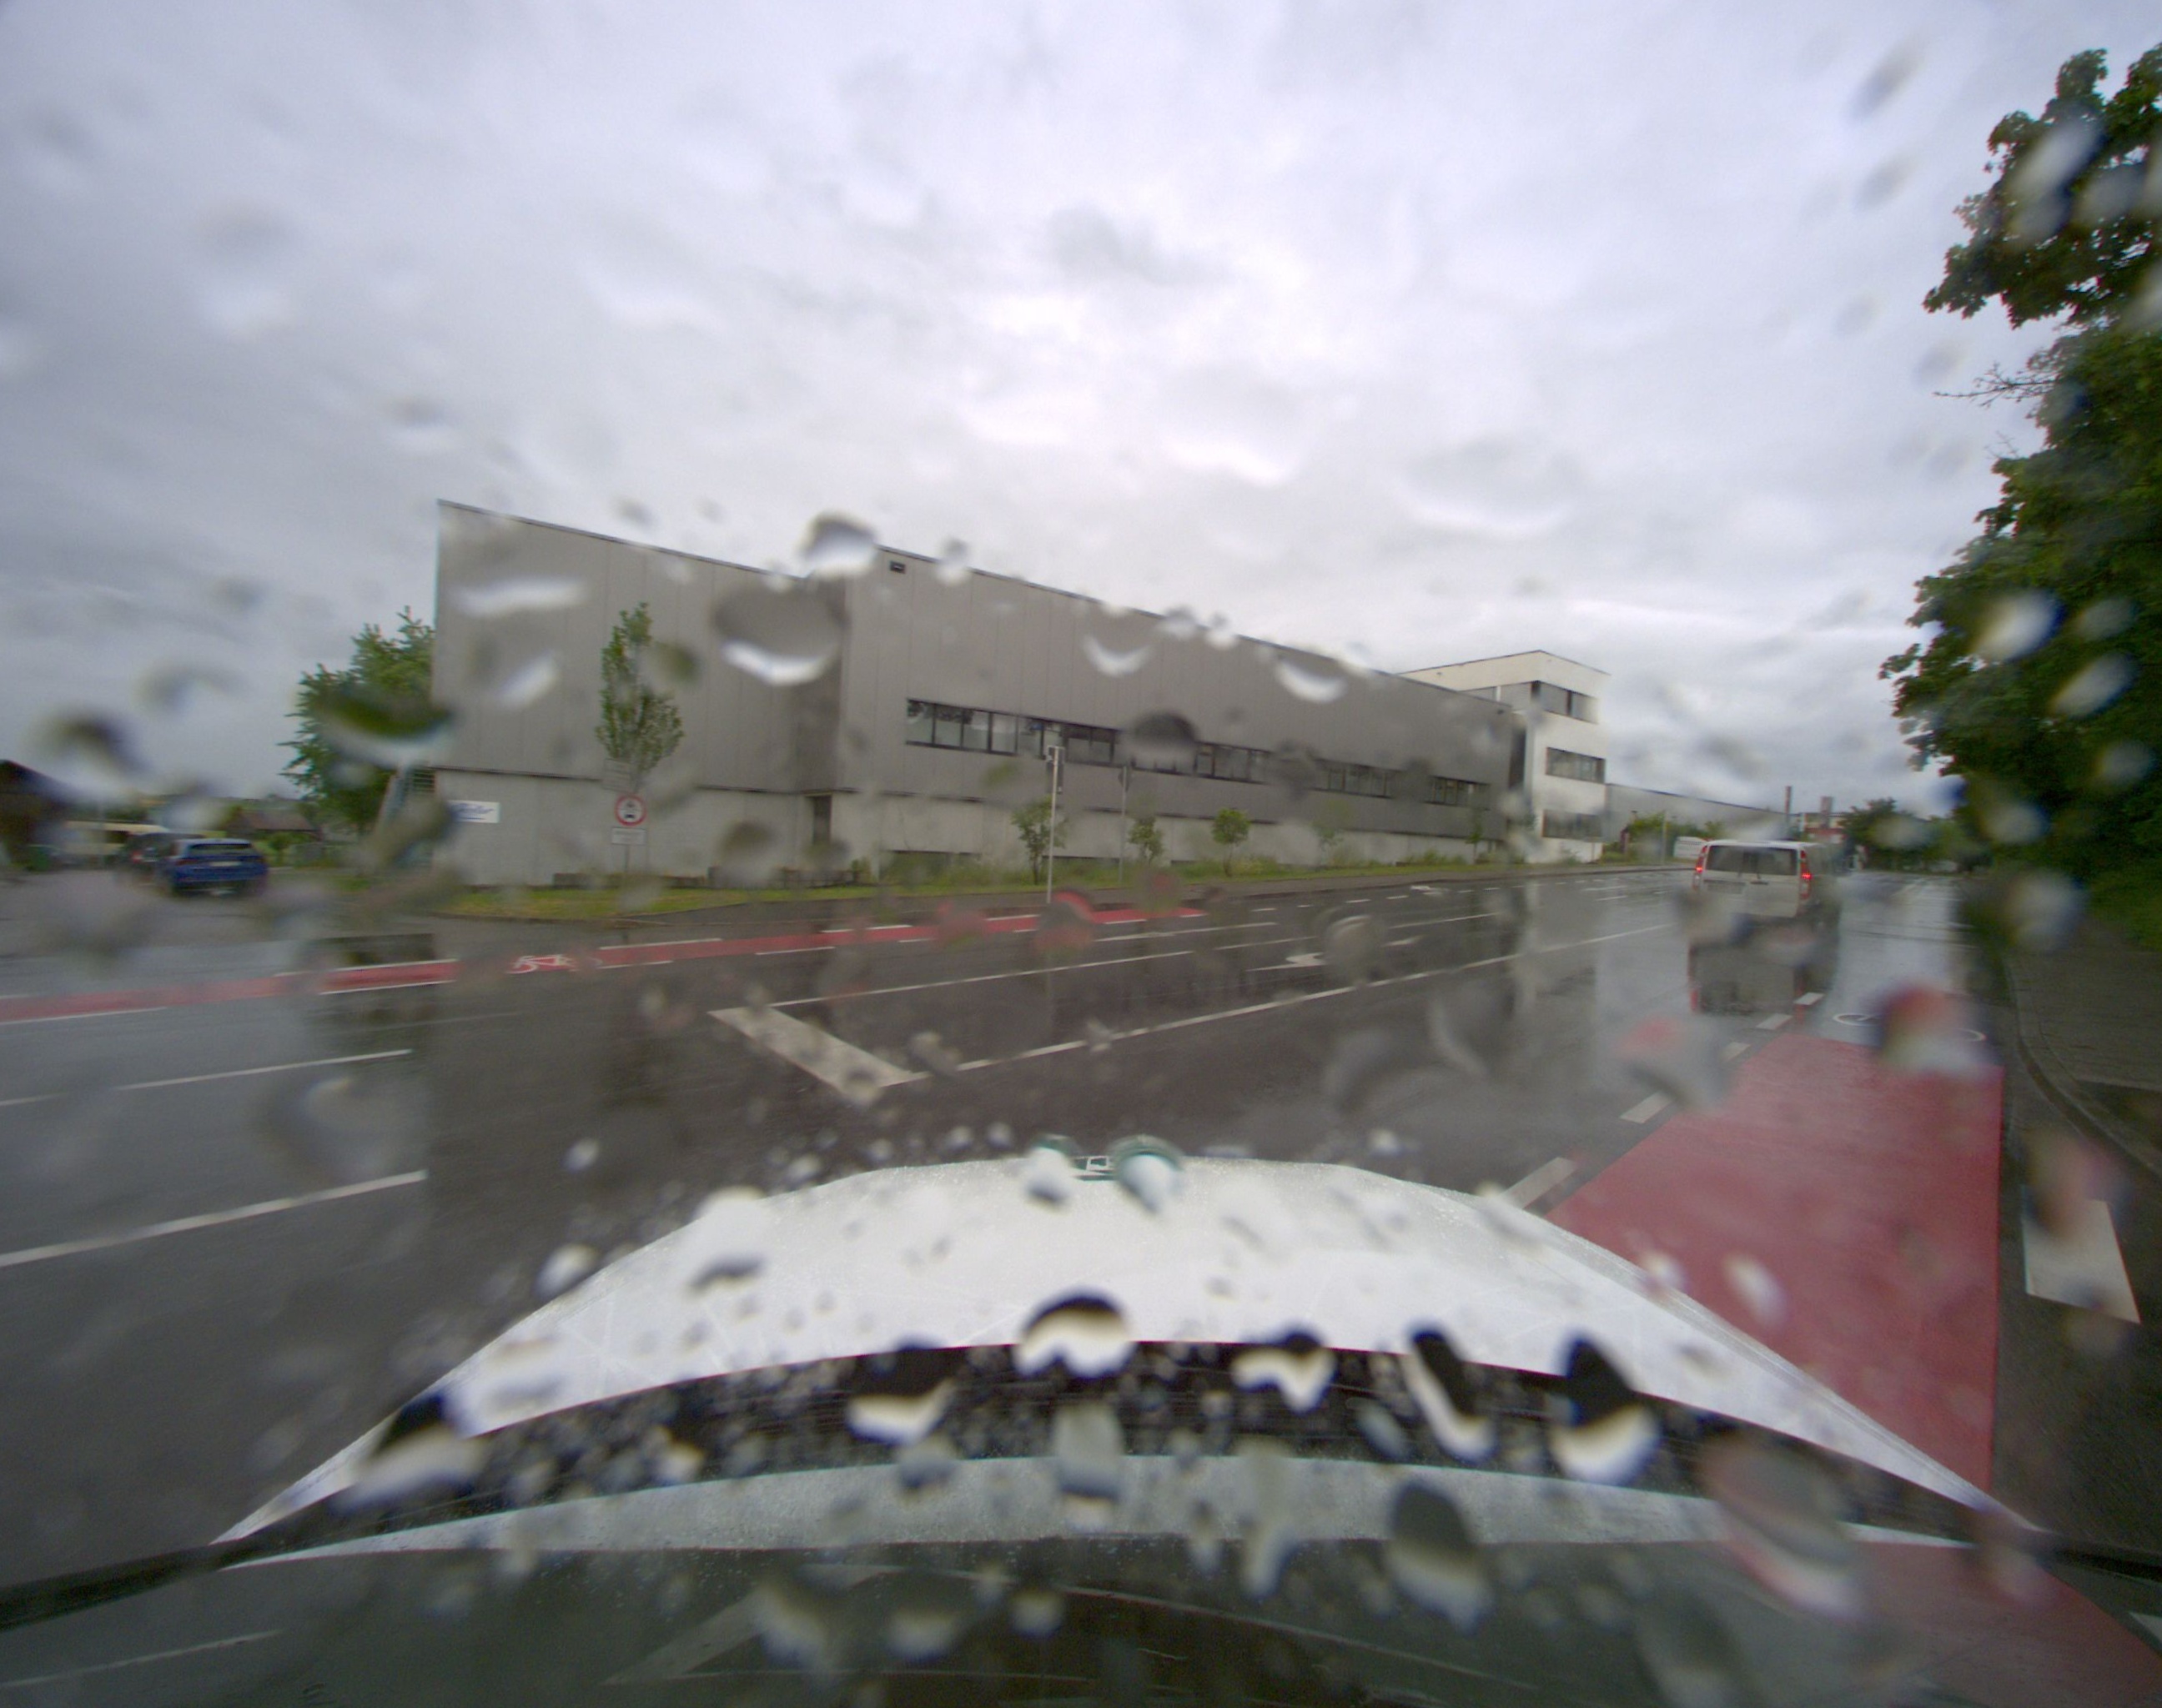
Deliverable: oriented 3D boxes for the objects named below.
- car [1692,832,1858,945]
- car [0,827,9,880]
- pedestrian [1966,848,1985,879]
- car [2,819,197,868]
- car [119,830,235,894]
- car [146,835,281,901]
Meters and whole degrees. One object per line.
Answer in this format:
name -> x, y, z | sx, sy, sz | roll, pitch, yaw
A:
car -> 14.678, 0.617, 17.085 | 5.401, 2.018, 1.882 | 0, 0, -41
car -> -40.963, -0.024, 28.051 | 4.416, 1.905, 1.984 | 0, 0, -25
pedestrian -> 56.311, 0.601, 51.280 | 0.732, 1.907, 0.770 | 2, -2, -42
car -> -51.527, -0.514, 43.005 | 6.042, 2.415, 2.441 | 0, 0, -28
car -> -28.340, 0.239, 25.501 | 4.413, 1.835, 2.094 | 0, 0, 38
car -> -23.396, 0.356, 21.919 | 4.389, 1.610, 1.970 | 0, 0, 36
